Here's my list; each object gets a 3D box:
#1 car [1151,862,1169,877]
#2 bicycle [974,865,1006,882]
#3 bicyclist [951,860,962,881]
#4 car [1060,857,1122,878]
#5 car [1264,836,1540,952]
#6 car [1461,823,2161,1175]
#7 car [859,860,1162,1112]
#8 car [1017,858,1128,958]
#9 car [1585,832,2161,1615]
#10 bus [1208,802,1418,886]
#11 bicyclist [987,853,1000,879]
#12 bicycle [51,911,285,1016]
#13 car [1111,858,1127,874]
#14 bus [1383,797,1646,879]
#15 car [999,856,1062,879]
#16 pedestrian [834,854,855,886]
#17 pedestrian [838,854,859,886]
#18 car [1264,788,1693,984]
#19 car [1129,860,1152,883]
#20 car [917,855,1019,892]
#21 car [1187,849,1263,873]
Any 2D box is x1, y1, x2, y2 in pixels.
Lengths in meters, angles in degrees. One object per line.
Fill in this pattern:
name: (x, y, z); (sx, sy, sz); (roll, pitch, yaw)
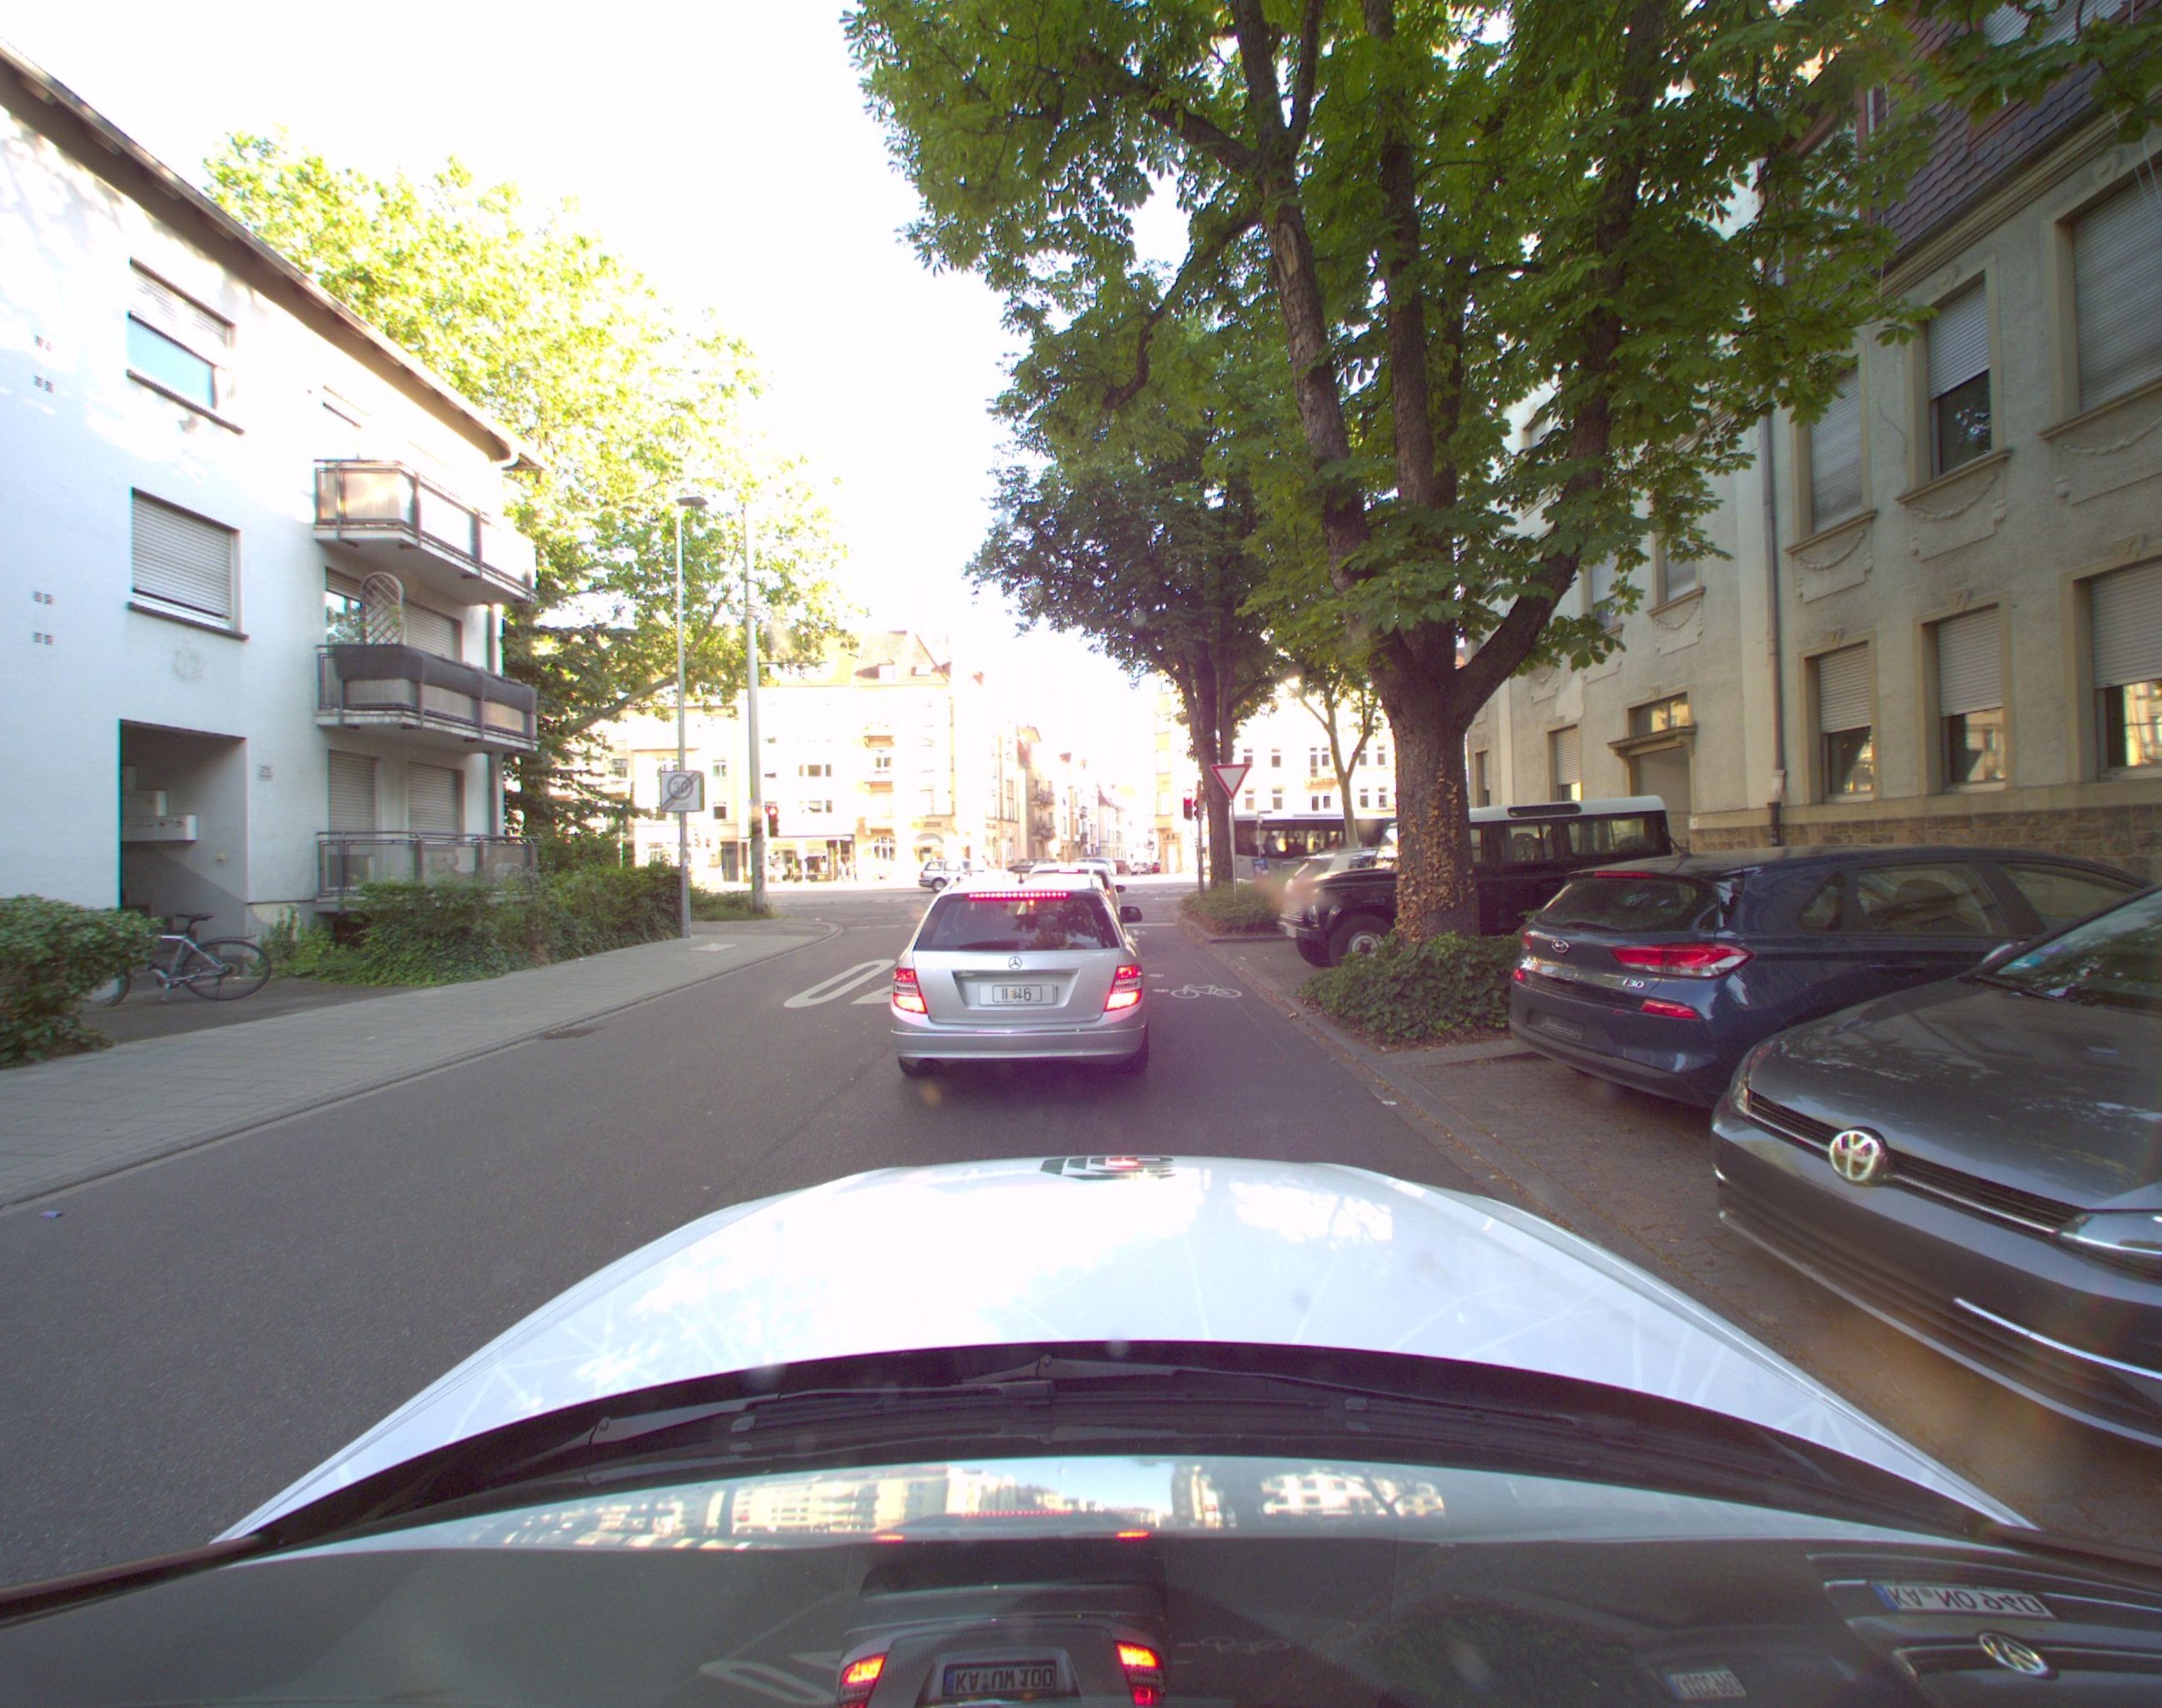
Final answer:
car: (9.870, 1.889, 101.858); (1.824, 1.744, 4.012); (-1, 0, 10)
bicycle: (-6.810, 1.447, 60.949); (2.251, 1.246, 0.636); (-1, 0, -3)
bicyclist: (-8.858, 1.186, 58.048); (0.642, 1.426, 0.636); (-1, 0, -3)
car: (0.677, 0.936, 56.826); (4.212, 1.349, 1.662); (-1, 0, -4)
car: (5.027, 0.609, 13.089); (3.714, 1.570, 1.707); (-3, -1, -2)
car: (4.394, 0.627, 4.555); (3.714, 1.452, 1.707); (-3, -1, -2)
car: (-0.405, 0.791, 7.083); (1.771, 1.452, 4.547); (-1, 0, 0)
car: (-0.111, 0.807, 14.171); (1.614, 1.447, 4.344); (-1, 0, 0)
car: (4.030, 0.644, 2.383); (4.042, 1.452, 1.722); (-3, -1, -2)
bus: (9.847, -0.430, 35.058); (8.166, 3.201, 2.905); (-2, 0, -7)
bicyclist: (-6.564, 0.892, 60.971); (0.889, 1.859, 0.636); (-1, 0, -3)
bicycle: (-9.997, 1.161, 9.007); (1.630, 1.008, 0.511); (2, -2, -39)
car: (5.474, 1.700, 117.399); (1.776, 2.204, 4.012); (-1, 0, 10)
bus: (19.083, -0.714, 36.105); (10.440, 3.201, 2.905); (-2, 0, -7)
car: (-3.278, 0.846, 52.871); (4.026, 1.360, 1.661); (-2, 0, -4)
pedestrian: (-19.071, 1.284, 65.693); (1.343, 2.464, 1.059); (-1, 0, -3)
pedestrian: (-18.405, 1.264, 64.572); (1.343, 2.464, 1.059); (-1, 0, -3)
car: (4.738, 0.360, 10.129); (4.453, 2.036, 1.700); (-3, -1, -2)
car: (6.300, 1.800, 85.901); (2.018, 2.279, 4.012); (-1, 0, 10)
car: (-4.950, 0.843, 36.059); (4.338, 1.497, 1.658); (-2, 0, -5)
car: (9.635, 0.435, 54.545); (4.694, 1.460, 1.834); (-2, 0, -4)
